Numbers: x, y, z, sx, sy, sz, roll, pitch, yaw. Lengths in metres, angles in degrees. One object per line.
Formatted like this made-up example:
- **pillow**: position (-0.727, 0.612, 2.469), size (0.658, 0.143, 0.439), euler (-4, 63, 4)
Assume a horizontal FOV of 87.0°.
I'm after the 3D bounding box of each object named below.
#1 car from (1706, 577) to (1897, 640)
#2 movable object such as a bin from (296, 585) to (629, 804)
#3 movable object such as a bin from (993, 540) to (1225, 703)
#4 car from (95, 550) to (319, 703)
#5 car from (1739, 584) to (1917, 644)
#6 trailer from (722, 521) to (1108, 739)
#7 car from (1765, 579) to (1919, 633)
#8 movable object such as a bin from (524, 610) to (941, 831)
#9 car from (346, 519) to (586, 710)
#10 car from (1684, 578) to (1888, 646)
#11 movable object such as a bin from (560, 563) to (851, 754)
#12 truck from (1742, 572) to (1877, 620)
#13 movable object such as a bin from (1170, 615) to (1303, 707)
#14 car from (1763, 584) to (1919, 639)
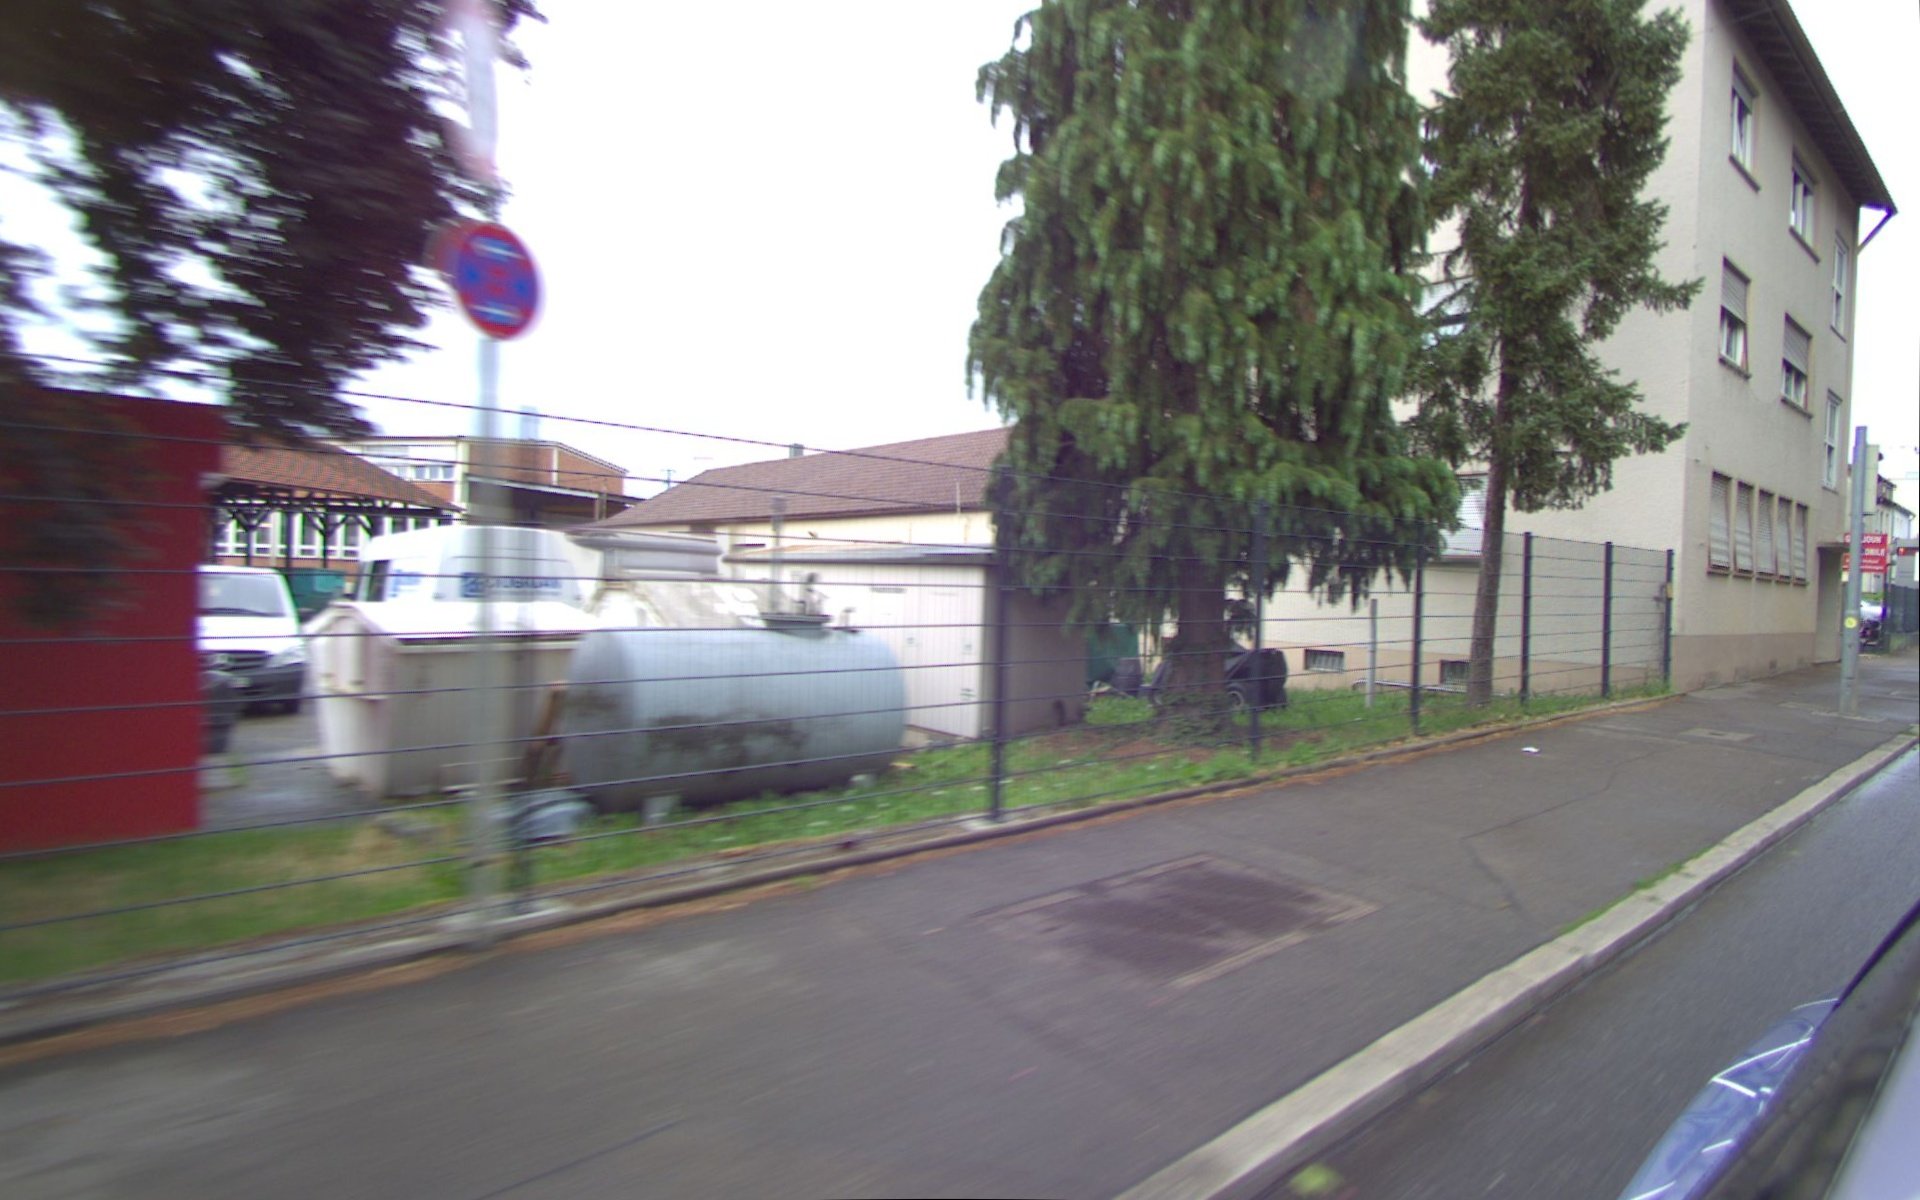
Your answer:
- **car**: position (25.608, 0.236, 30.920), size (1.837, 1.758, 4.236), euler (-2, 1, -40)
- **movable object such as a bin**: position (-4.644, 0.698, 9.258), size (1.860, 1.597, 3.333), euler (1, -1, -43)
- **movable object such as a bin**: position (2.309, 0.259, 15.671), size (3.033, 2.271, 1.910), euler (-2, 1, -33)
- **car**: position (-10.316, 0.202, 13.716), size (1.967, 1.714, 4.603), euler (-2, 3, -43)
- **car**: position (27.687, 0.417, 32.380), size (1.837, 1.758, 4.074), euler (-2, 1, -40)
- **trailer**: position (-0.846, 0.282, 12.984), size (2.011, 2.214, 5.429), euler (-2, 1, -41)
- **car**: position (31.626, 0.180, 36.076), size (1.965, 1.790, 4.311), euler (-1, 1, -40)
- **movable object such as a bin**: position (-1.615, 0.748, 7.682), size (1.370, 1.337, 2.813), euler (0, -1, 45)
- **car**: position (-7.289, 0.074, 14.641), size (1.965, 2.298, 4.830), euler (-1, 3, -41)
- **car**: position (23.340, 0.298, 28.719), size (1.837, 1.758, 4.236), euler (-2, 1, -40)
- **movable object such as a bin**: position (-2.777, 0.538, 10.904), size (2.048, 1.738, 2.619), euler (1, -1, -43)
- **truck**: position (49.975, -0.214, 59.671), size (2.008, 2.670, 5.855), euler (-1, 1, -40)
- **movable object such as a bin**: position (3.861, 0.833, 14.149), size (1.196, 1.196, 1.330), euler (1, -3, -41)
- **car**: position (29.717, 0.361, 34.056), size (1.760, 1.746, 3.956), euler (-1, 0, -40)
